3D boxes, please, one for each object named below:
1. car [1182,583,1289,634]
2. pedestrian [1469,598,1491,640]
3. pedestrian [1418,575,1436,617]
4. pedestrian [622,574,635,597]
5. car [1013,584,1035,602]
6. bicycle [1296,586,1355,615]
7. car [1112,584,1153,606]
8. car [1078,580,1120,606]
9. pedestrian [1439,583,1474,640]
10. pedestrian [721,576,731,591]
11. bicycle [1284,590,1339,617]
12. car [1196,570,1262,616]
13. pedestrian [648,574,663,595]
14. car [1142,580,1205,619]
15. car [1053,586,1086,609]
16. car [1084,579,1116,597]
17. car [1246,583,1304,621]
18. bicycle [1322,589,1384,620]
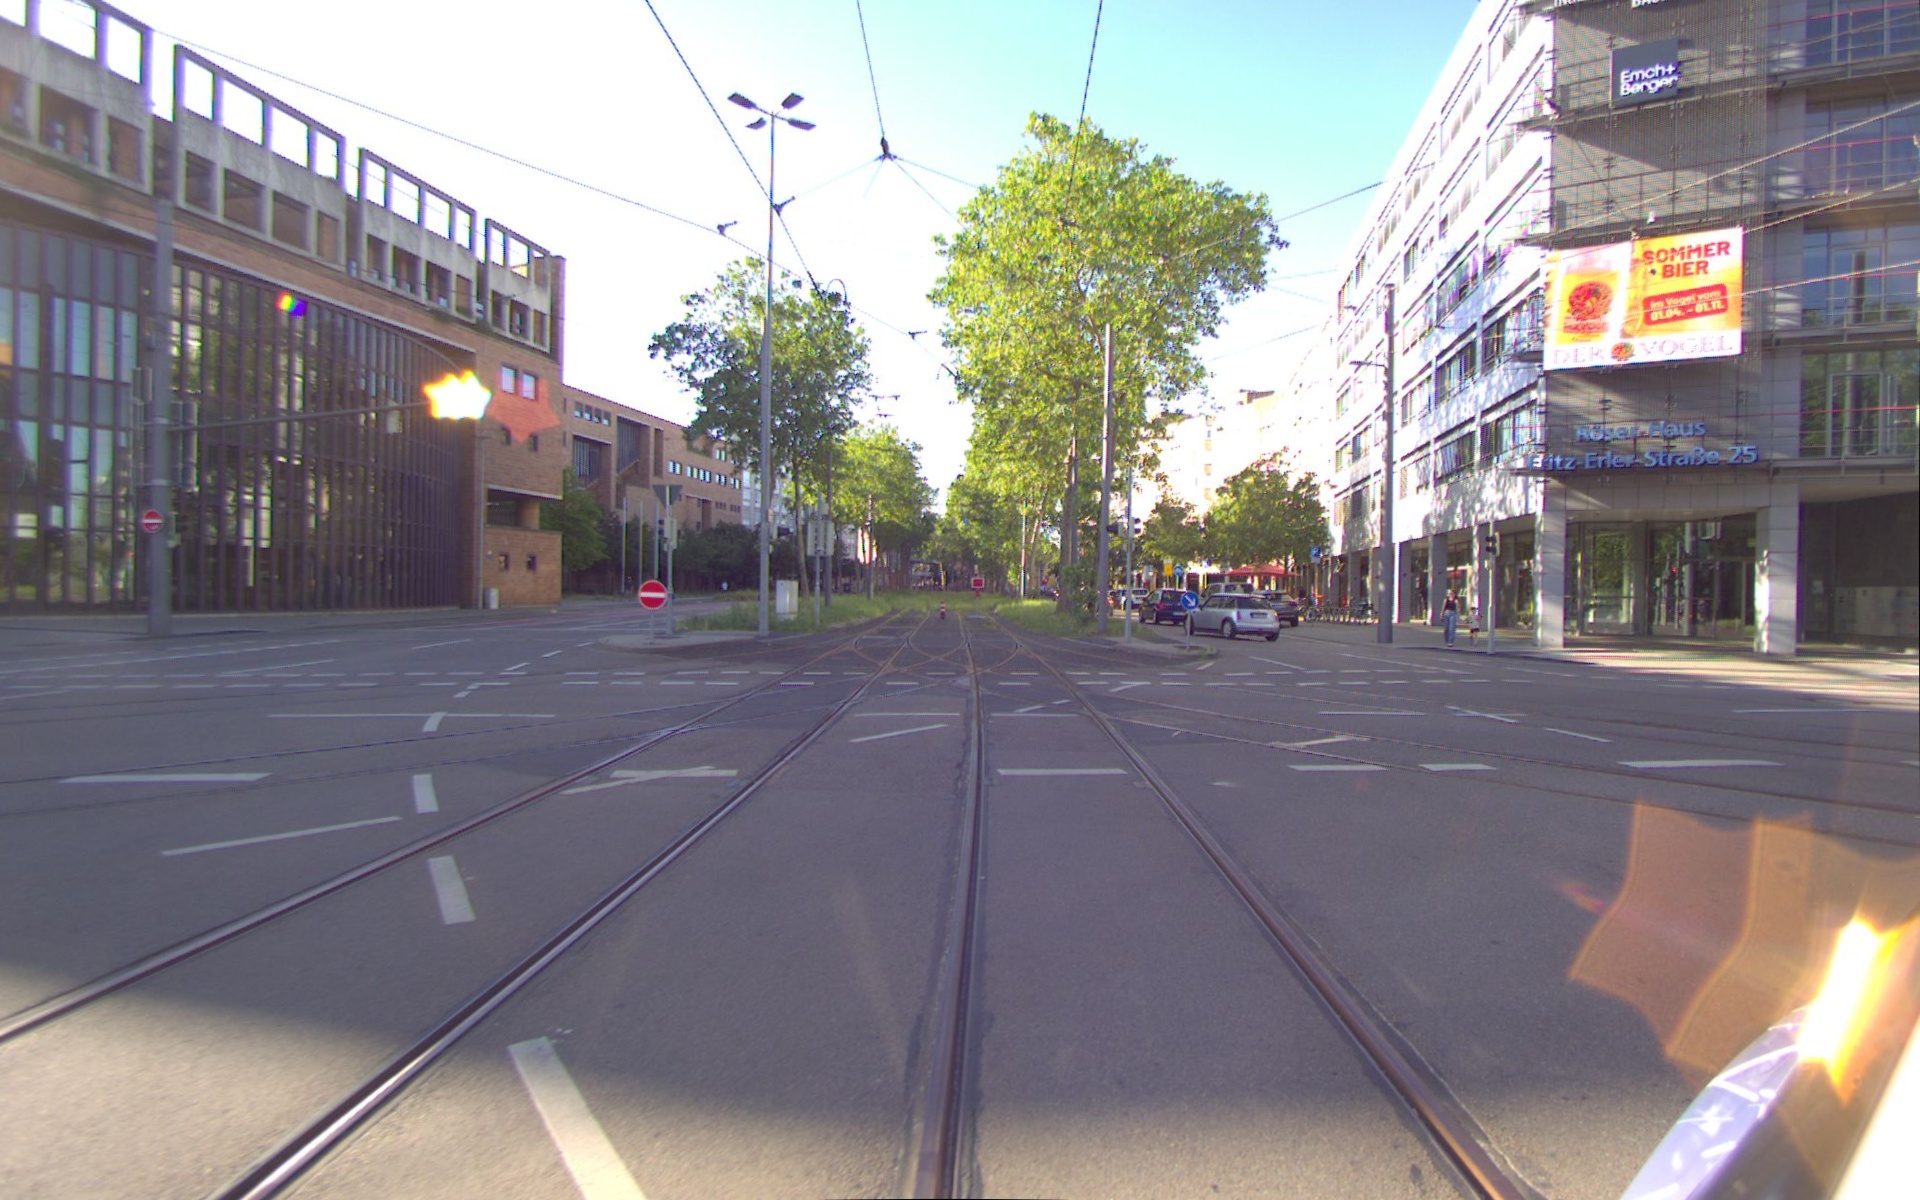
[{"bbox_3d":[8.460,0.223,31.336,1.631,1.406,3.544,2,1,-14],"label":"car"},{"bbox_3d":[15.327,0.559,29.836,0.435,1.225,0.461,1,0,6],"label":"pedestrian"},{"bbox_3d":[19.756,-0.172,42.843,0.579,1.756,0.788,0,-2,18],"label":"pedestrian"},{"bbox_3d":[-23.413,-1.040,71.506,0.795,1.626,0.689,1,0,-13],"label":"pedestrian"},{"bbox_3d":[7.070,-0.742,111.959,1.788,1.792,4.318,1,-1,-4],"label":"car"},{"bbox_3d":[16.356,0.038,45.296,2.346,1.229,0.776,2,-1,-8],"label":"bicycle"},{"bbox_3d":[12.312,-0.368,72.291,1.829,1.493,3.982,1,1,-6],"label":"car"},{"bbox_3d":[7.941,-0.380,58.117,1.667,1.458,4.021,0,0,-3],"label":"car"},{"bbox_3d":[14.703,0.336,29.963,0.649,1.661,0.792,1,0,6],"label":"pedestrian"},{"bbox_3d":[-22.039,-1.563,95.278,0.797,1.401,0.687,1,0,1],"label":"pedestrian"},{"bbox_3d":[16.780,0.155,48.332,2.346,1.229,0.776,2,-1,-8],"label":"bicycle"},{"bbox_3d":[12.746,-0.350,48.279,1.831,2.041,4.459,1,1,-2],"label":"car"},{"bbox_3d":[-22.668,-1.143,75.364,0.779,1.532,0.817,1,1,2],"label":"pedestrian"},{"bbox_3d":[8.704,-0.038,41.608,1.833,1.493,3.976,1,1,2],"label":"car"},{"bbox_3d":[7.424,-0.210,68.641,1.667,1.493,3.983,1,1,-2],"label":"car"},{"bbox_3d":[12.364,-1.053,89.464,1.829,1.493,3.982,1,1,-6],"label":"car"},{"bbox_3d":[13.157,0.043,42.459,1.838,1.493,3.965,1,1,11],"label":"car"},{"bbox_3d":[16.982,0.193,43.773,2.358,1.229,0.772,2,0,13],"label":"bicycle"}]
